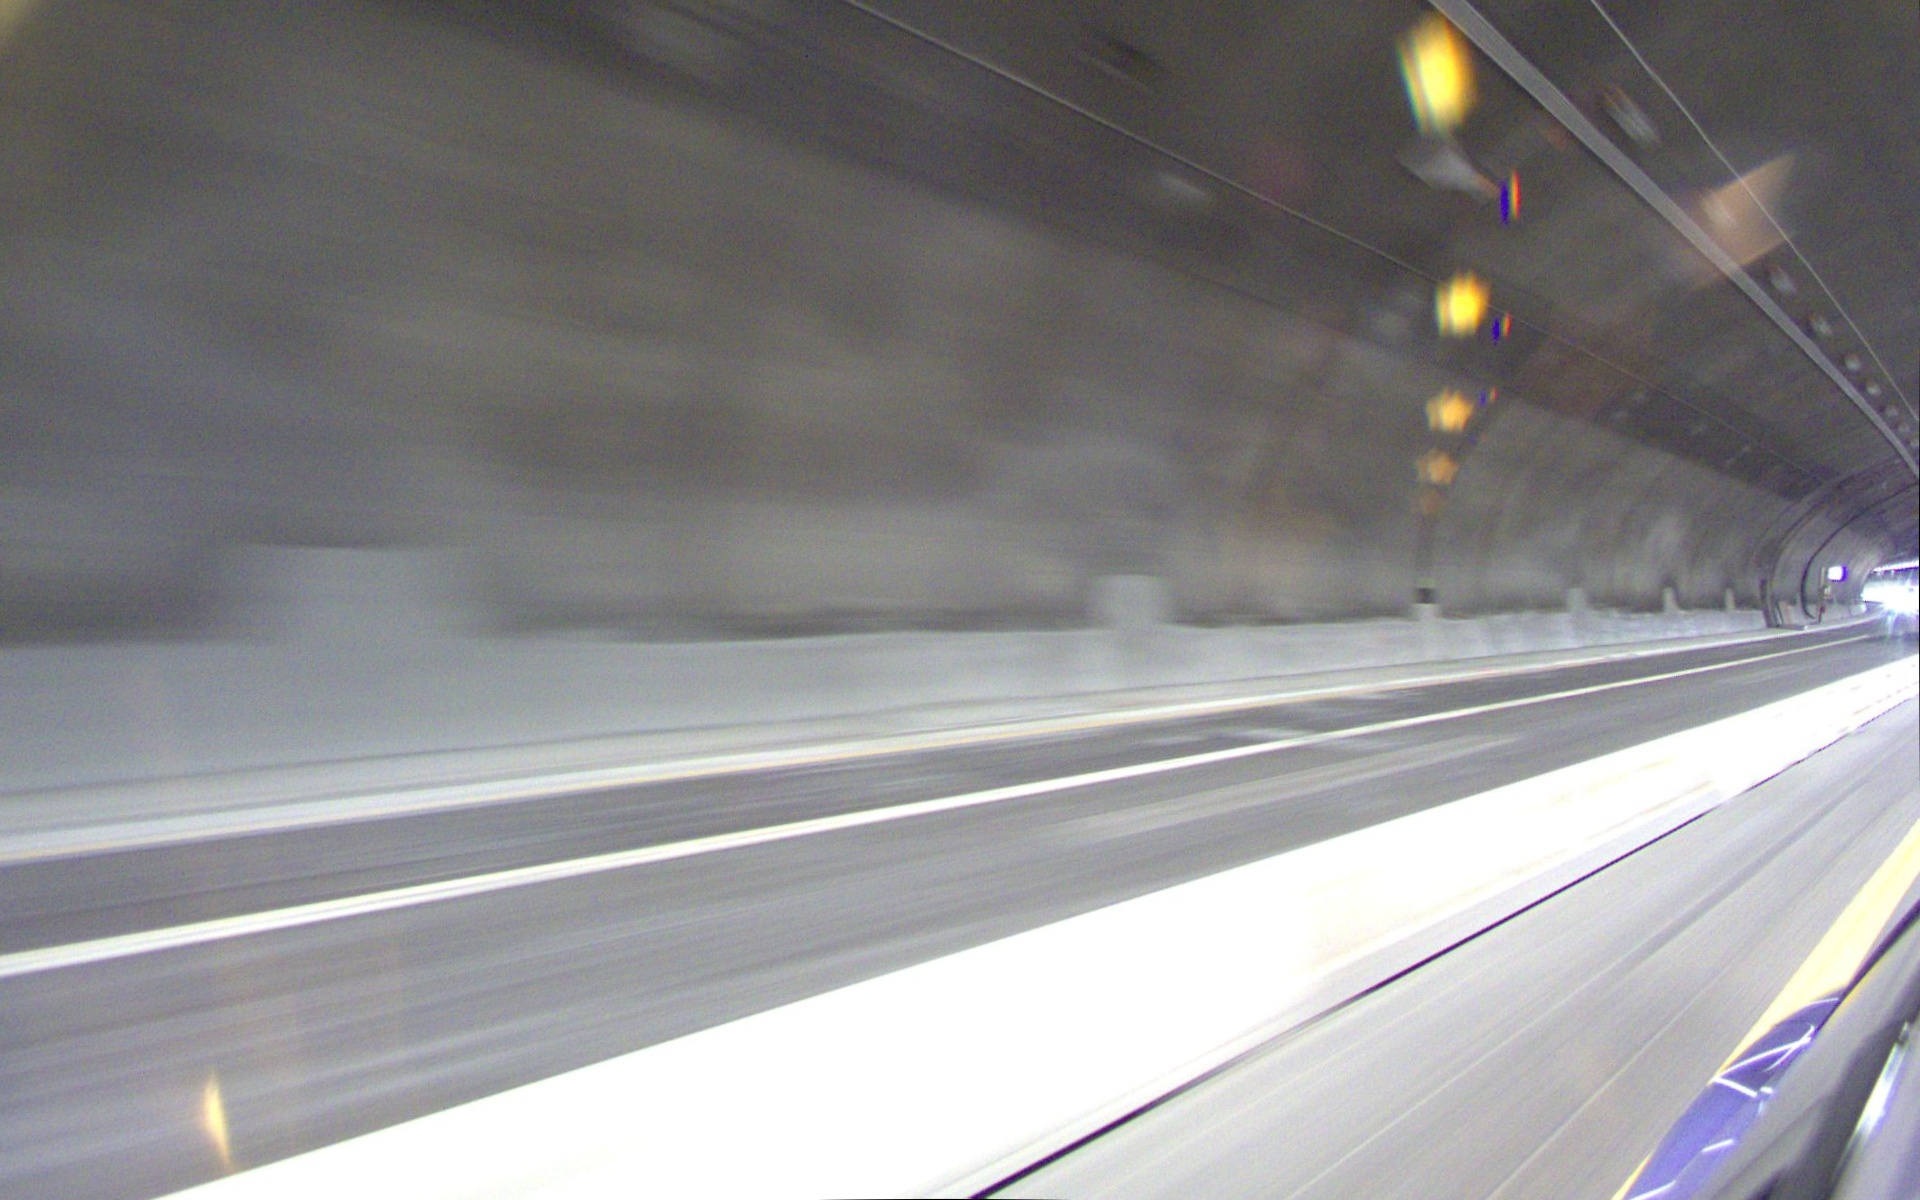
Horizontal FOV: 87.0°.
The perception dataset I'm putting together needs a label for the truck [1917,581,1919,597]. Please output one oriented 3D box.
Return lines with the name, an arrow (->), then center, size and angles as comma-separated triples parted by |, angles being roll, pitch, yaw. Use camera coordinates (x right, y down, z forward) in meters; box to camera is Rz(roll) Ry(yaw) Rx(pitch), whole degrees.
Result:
truck -> 160.605, -1.809, 167.543 | 2.599, 2.774, 6.307 | 0, 0, 39
